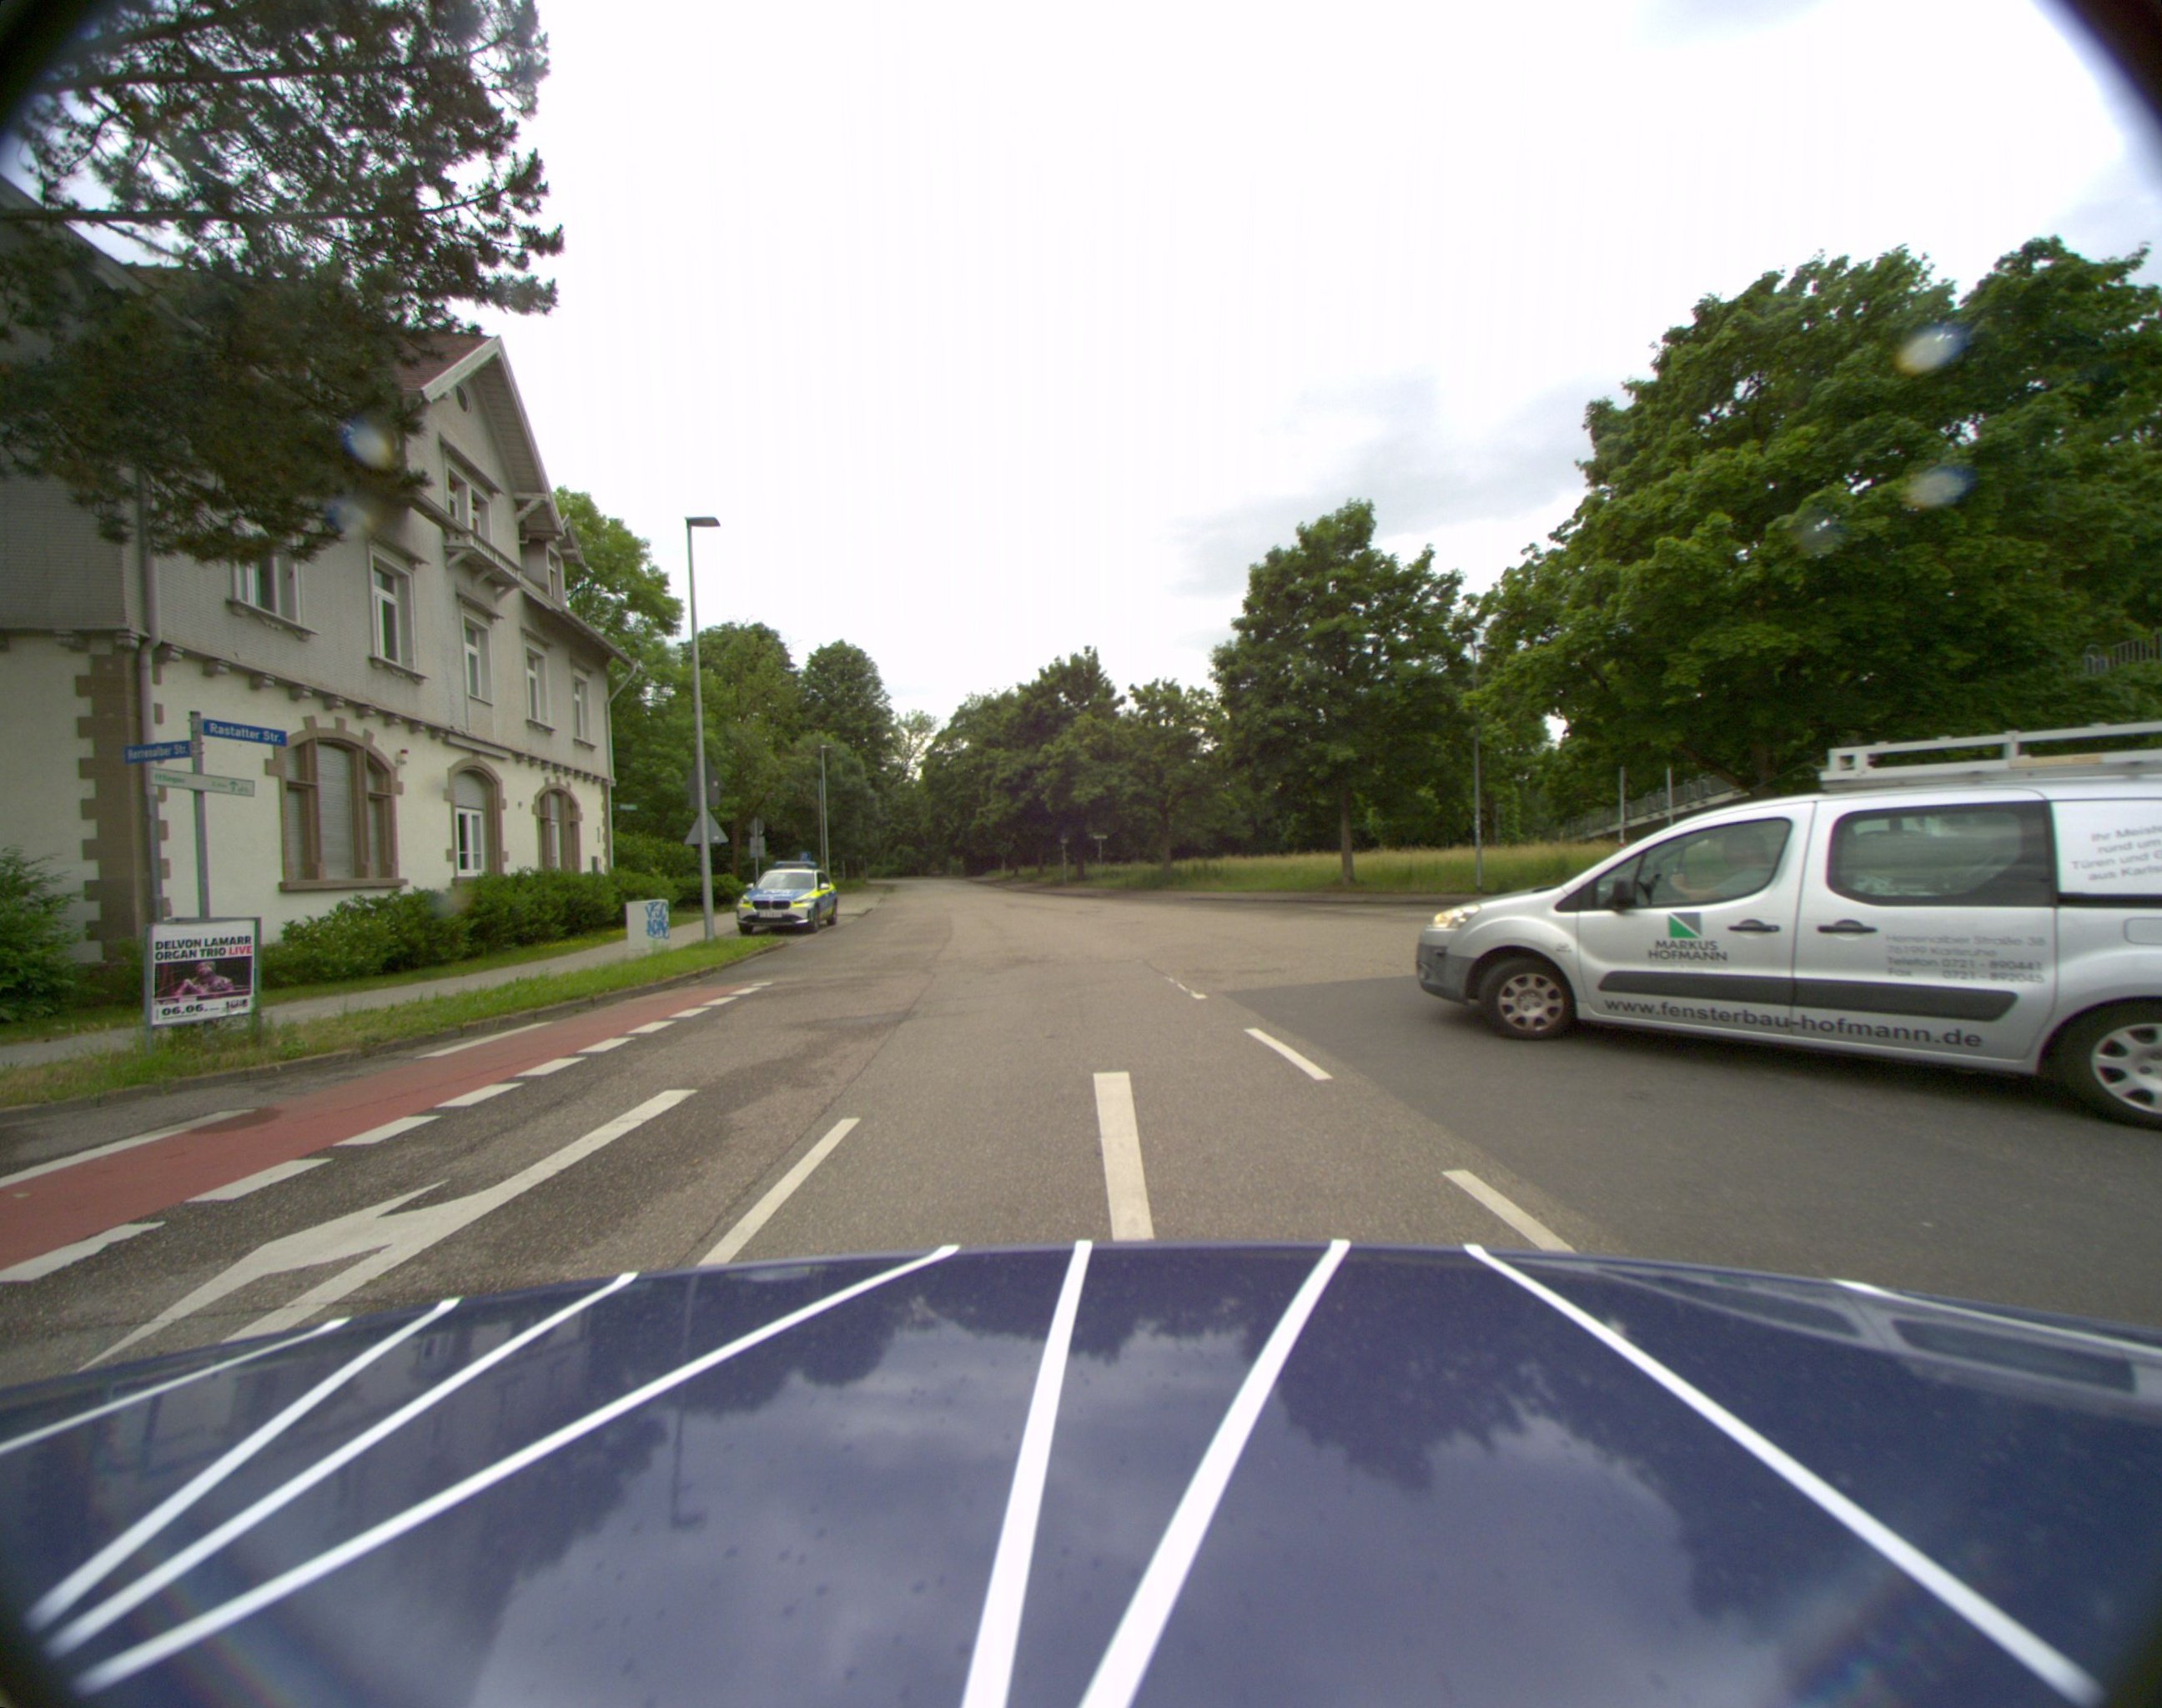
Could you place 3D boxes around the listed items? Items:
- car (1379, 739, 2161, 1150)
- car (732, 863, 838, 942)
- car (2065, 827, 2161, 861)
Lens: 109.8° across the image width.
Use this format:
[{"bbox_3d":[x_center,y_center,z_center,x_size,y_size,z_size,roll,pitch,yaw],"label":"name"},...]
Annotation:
[{"bbox_3d":[4.588,0.422,5.209,2.099,1.846,4.210,-1,0,-43],"label":"car"},{"bbox_3d":[-7.613,1.156,19.937,1.937,1.839,3.996,0,0,-12],"label":"car"},{"bbox_3d":[40.406,-0.392,28.716,1.692,1.231,4.003,-2,0,11],"label":"car"}]
